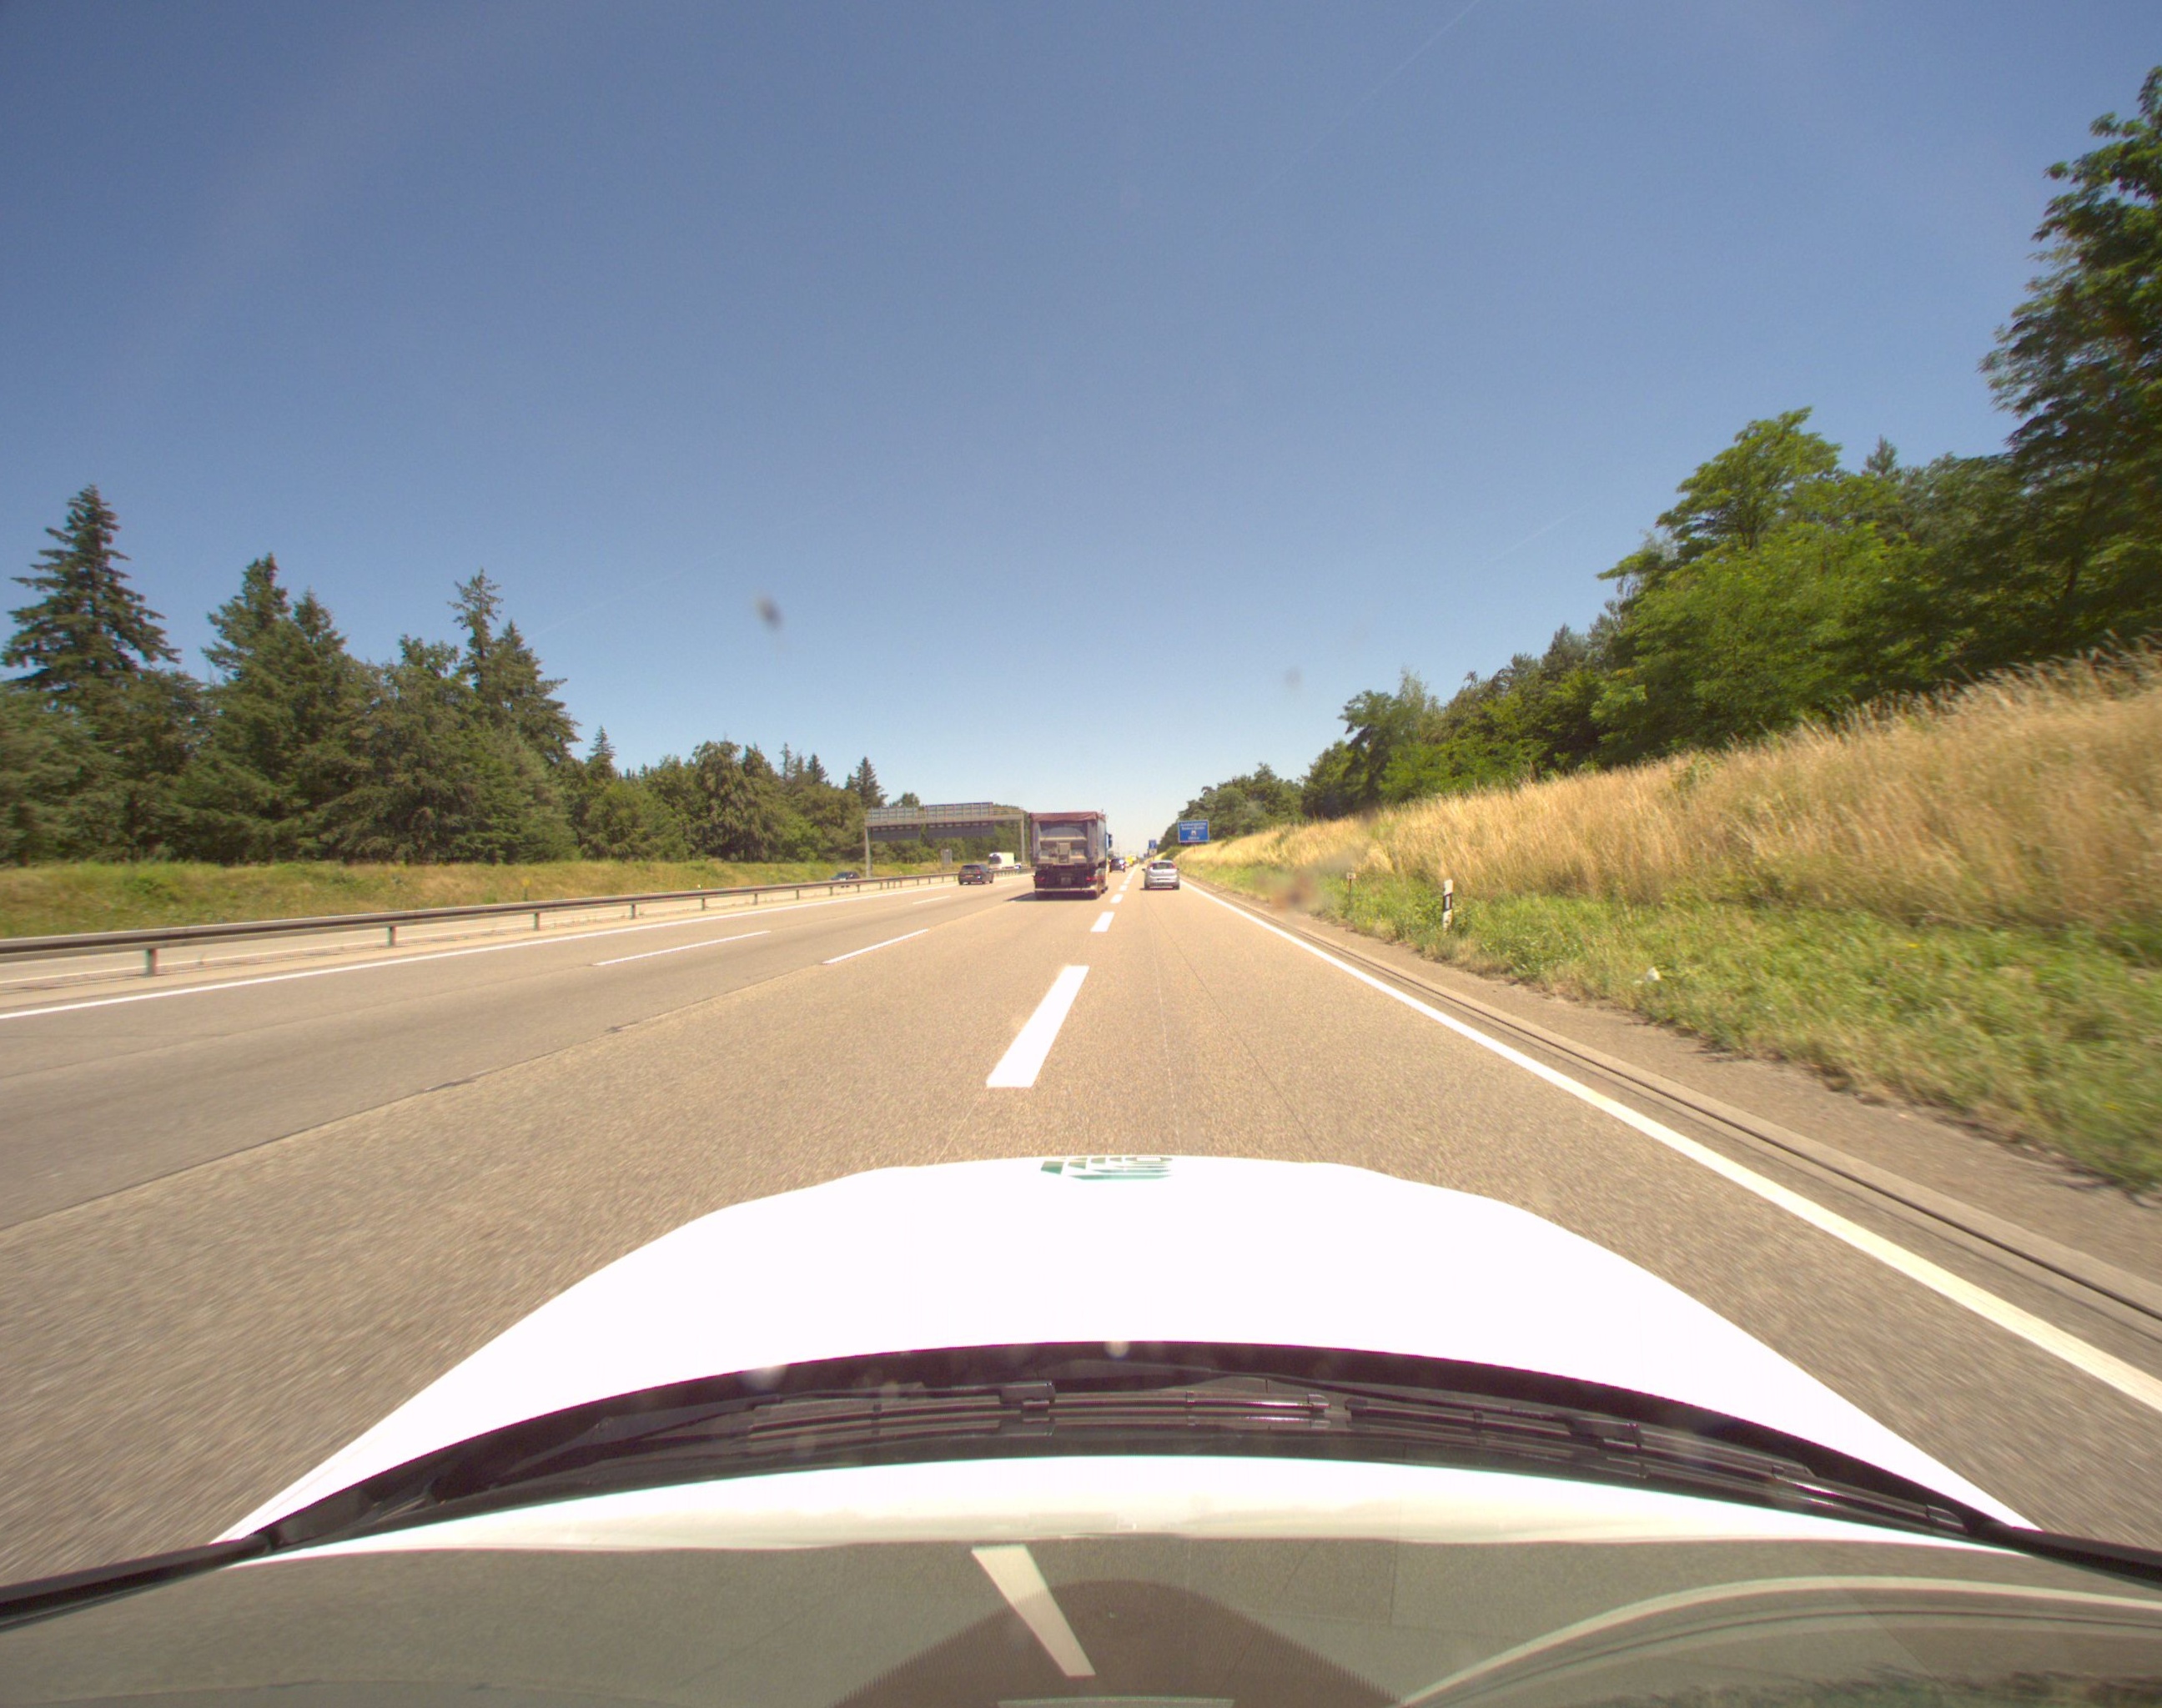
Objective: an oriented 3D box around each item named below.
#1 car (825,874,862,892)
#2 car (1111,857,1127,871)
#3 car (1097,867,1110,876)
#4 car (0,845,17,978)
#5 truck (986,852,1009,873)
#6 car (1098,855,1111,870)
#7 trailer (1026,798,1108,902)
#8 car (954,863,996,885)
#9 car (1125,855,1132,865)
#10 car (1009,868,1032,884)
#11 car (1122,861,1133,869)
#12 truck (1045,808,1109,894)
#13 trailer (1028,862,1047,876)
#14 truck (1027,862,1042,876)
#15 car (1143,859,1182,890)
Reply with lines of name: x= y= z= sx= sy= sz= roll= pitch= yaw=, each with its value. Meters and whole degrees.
car: x=-22.262 y=2.656 z=76.461 sx=1.819 sy=1.509 sz=4.747 roll=-2 pitch=-1 yaw=3
car: x=4.616 y=1.246 z=99.250 sx=1.823 sy=1.672 sz=4.004 roll=0 pitch=-1 yaw=4
car: x=3.699 y=2.848 z=134.493 sx=1.886 sy=1.469 sz=4.265 roll=-1 pitch=-1 yaw=4
car: x=-23.464 y=1.219 z=13.471 sx=2.333 sy=2.711 sz=6.880 roll=-4 pitch=-1 yaw=4
truck: x=-16.620 y=1.671 z=162.862 sx=3.198 sy=4.018 sz=6.225 roll=-1 pitch=-1 yaw=6
car: x=4.470 y=1.628 z=155.700 sx=2.250 sy=2.951 sz=6.118 roll=-1 pitch=-1 yaw=3
trailer: x=-0.357 y=-0.126 z=34.497 sx=2.725 sy=3.758 sz=9.116 roll=-2 pitch=0 yaw=3
car: x=-7.229 y=1.357 z=56.032 sx=1.824 sy=1.432 sz=5.005 roll=-1 pitch=-1 yaw=4
car: x=10.474 y=1.313 z=179.361 sx=1.605 sy=2.014 sz=4.003 roll=-1 pitch=-1 yaw=3
car: x=-6.127 y=2.235 z=83.323 sx=1.696 sy=1.474 sz=4.601 roll=-2 pitch=0 yaw=4
car: x=8.587 y=1.996 z=149.479 sx=1.812 sy=1.492 sz=3.743 roll=-1 pitch=-1 yaw=7
truck: x=-0.077 y=-0.126 z=39.223 sx=2.673 sy=3.758 sz=5.948 roll=-2 pitch=0 yaw=3
trailer: x=-12.348 y=4.257 z=233.394 sx=3.152 sy=3.931 sz=13.986 roll=-1 pitch=-1 yaw=6
truck: x=-12.995 y=4.165 z=227.193 sx=3.152 sy=3.931 sz=5.408 roll=-1 pitch=-1 yaw=6
car: x=4.077 y=1.002 z=41.155 sx=1.713 sy=1.491 sz=3.739 roll=-1 pitch=0 yaw=2
